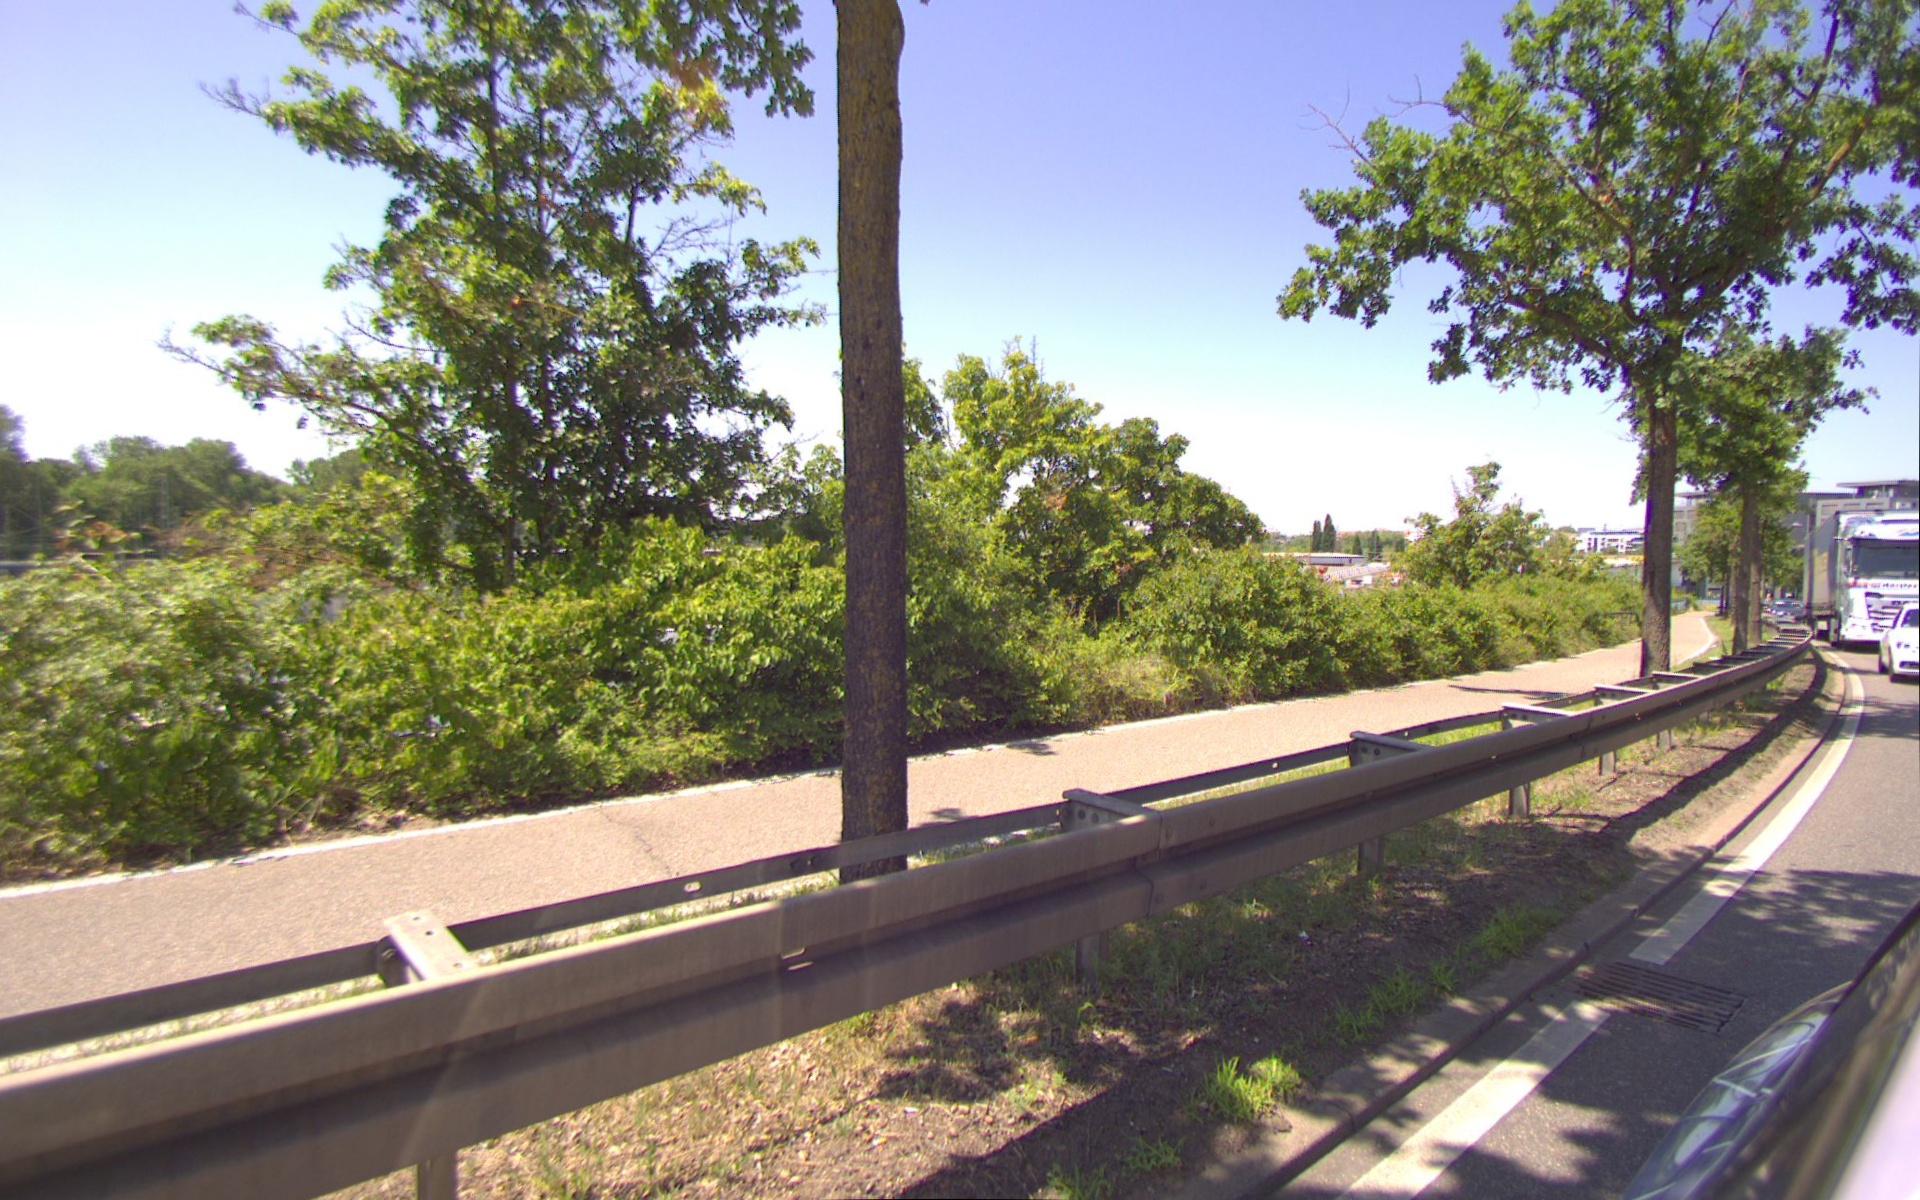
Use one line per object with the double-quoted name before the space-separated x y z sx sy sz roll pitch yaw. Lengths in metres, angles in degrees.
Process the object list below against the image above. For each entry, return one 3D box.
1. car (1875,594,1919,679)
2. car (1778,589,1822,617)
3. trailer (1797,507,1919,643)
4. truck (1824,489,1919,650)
"car" 17.845 0.623 18.177 3.653 1.446 1.814 0 1 -44
"car" 50.182 0.149 60.428 1.969 1.596 3.941 1 1 41
"trailer" 33.628 -0.854 37.814 2.866 4.267 13.823 1 1 37
"truck" 28.415 -0.837 30.591 2.843 4.322 8.699 1 1 36
